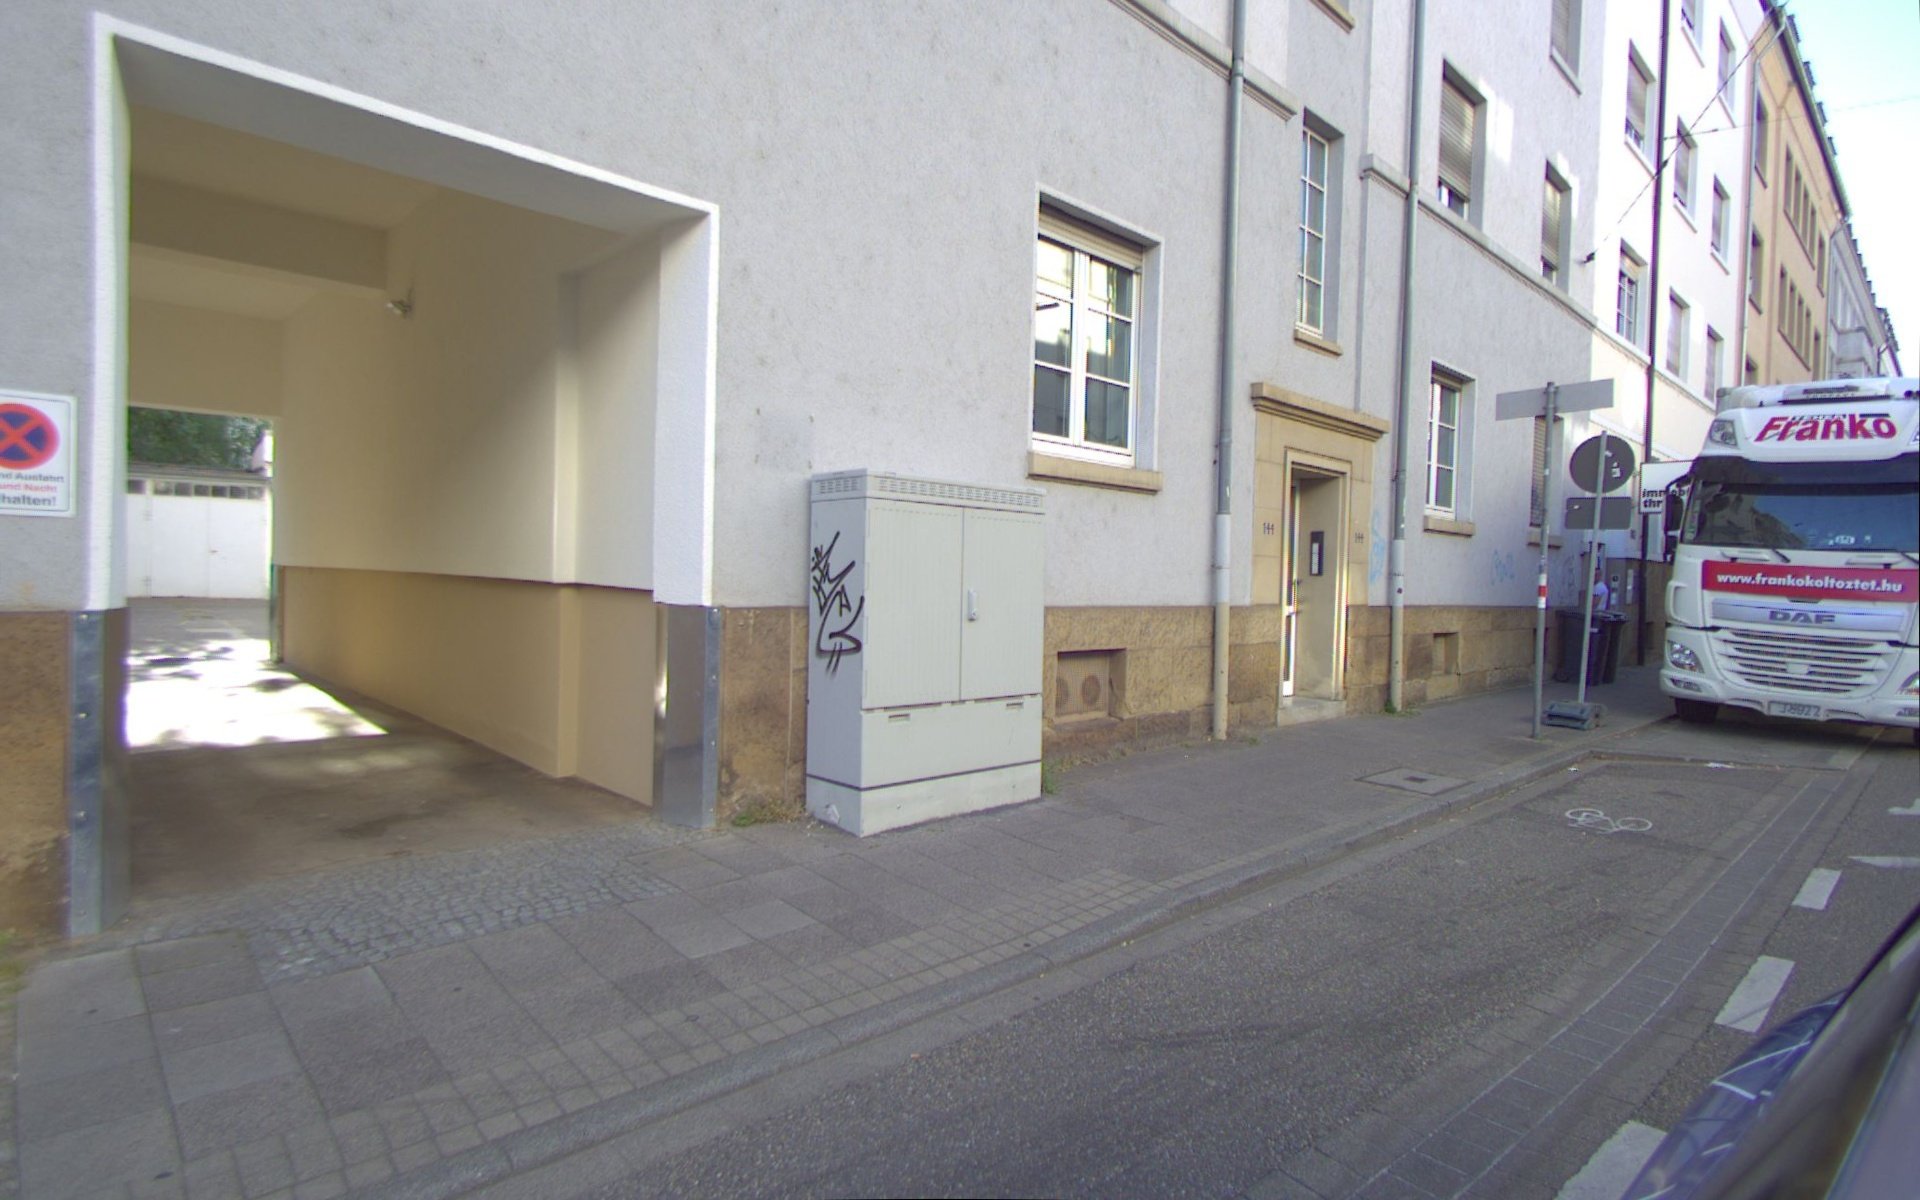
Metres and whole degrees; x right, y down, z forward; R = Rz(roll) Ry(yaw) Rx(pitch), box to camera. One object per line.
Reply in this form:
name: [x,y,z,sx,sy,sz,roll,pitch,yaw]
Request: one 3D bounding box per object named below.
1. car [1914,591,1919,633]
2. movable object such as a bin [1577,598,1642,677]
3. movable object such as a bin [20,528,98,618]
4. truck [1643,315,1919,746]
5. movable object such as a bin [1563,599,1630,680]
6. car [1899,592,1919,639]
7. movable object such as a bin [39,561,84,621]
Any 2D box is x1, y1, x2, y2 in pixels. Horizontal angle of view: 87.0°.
car: [37.675,0.464,38.627,4.080,1.551,1.681,0,0,-44]
movable object such as a bin: [9.650,0.542,15.035,0.560,1.107,0.665,0,2,-43]
movable object such as a bin: [-15.153,-0.458,17.013,0.946,1.426,1.597,0,2,-43]
truck: [12.576,-0.679,13.876,11.621,3.975,2.778,0,2,-44]
movable object such as a bin: [9.171,0.551,14.584,0.560,1.107,0.665,0,2,-43]
car: [33.505,0.531,34.729,4.080,1.551,1.681,0,0,-44]
movable object such as a bin: [-14.377,-0.151,16.195,0.518,0.922,0.580,0,2,-43]
